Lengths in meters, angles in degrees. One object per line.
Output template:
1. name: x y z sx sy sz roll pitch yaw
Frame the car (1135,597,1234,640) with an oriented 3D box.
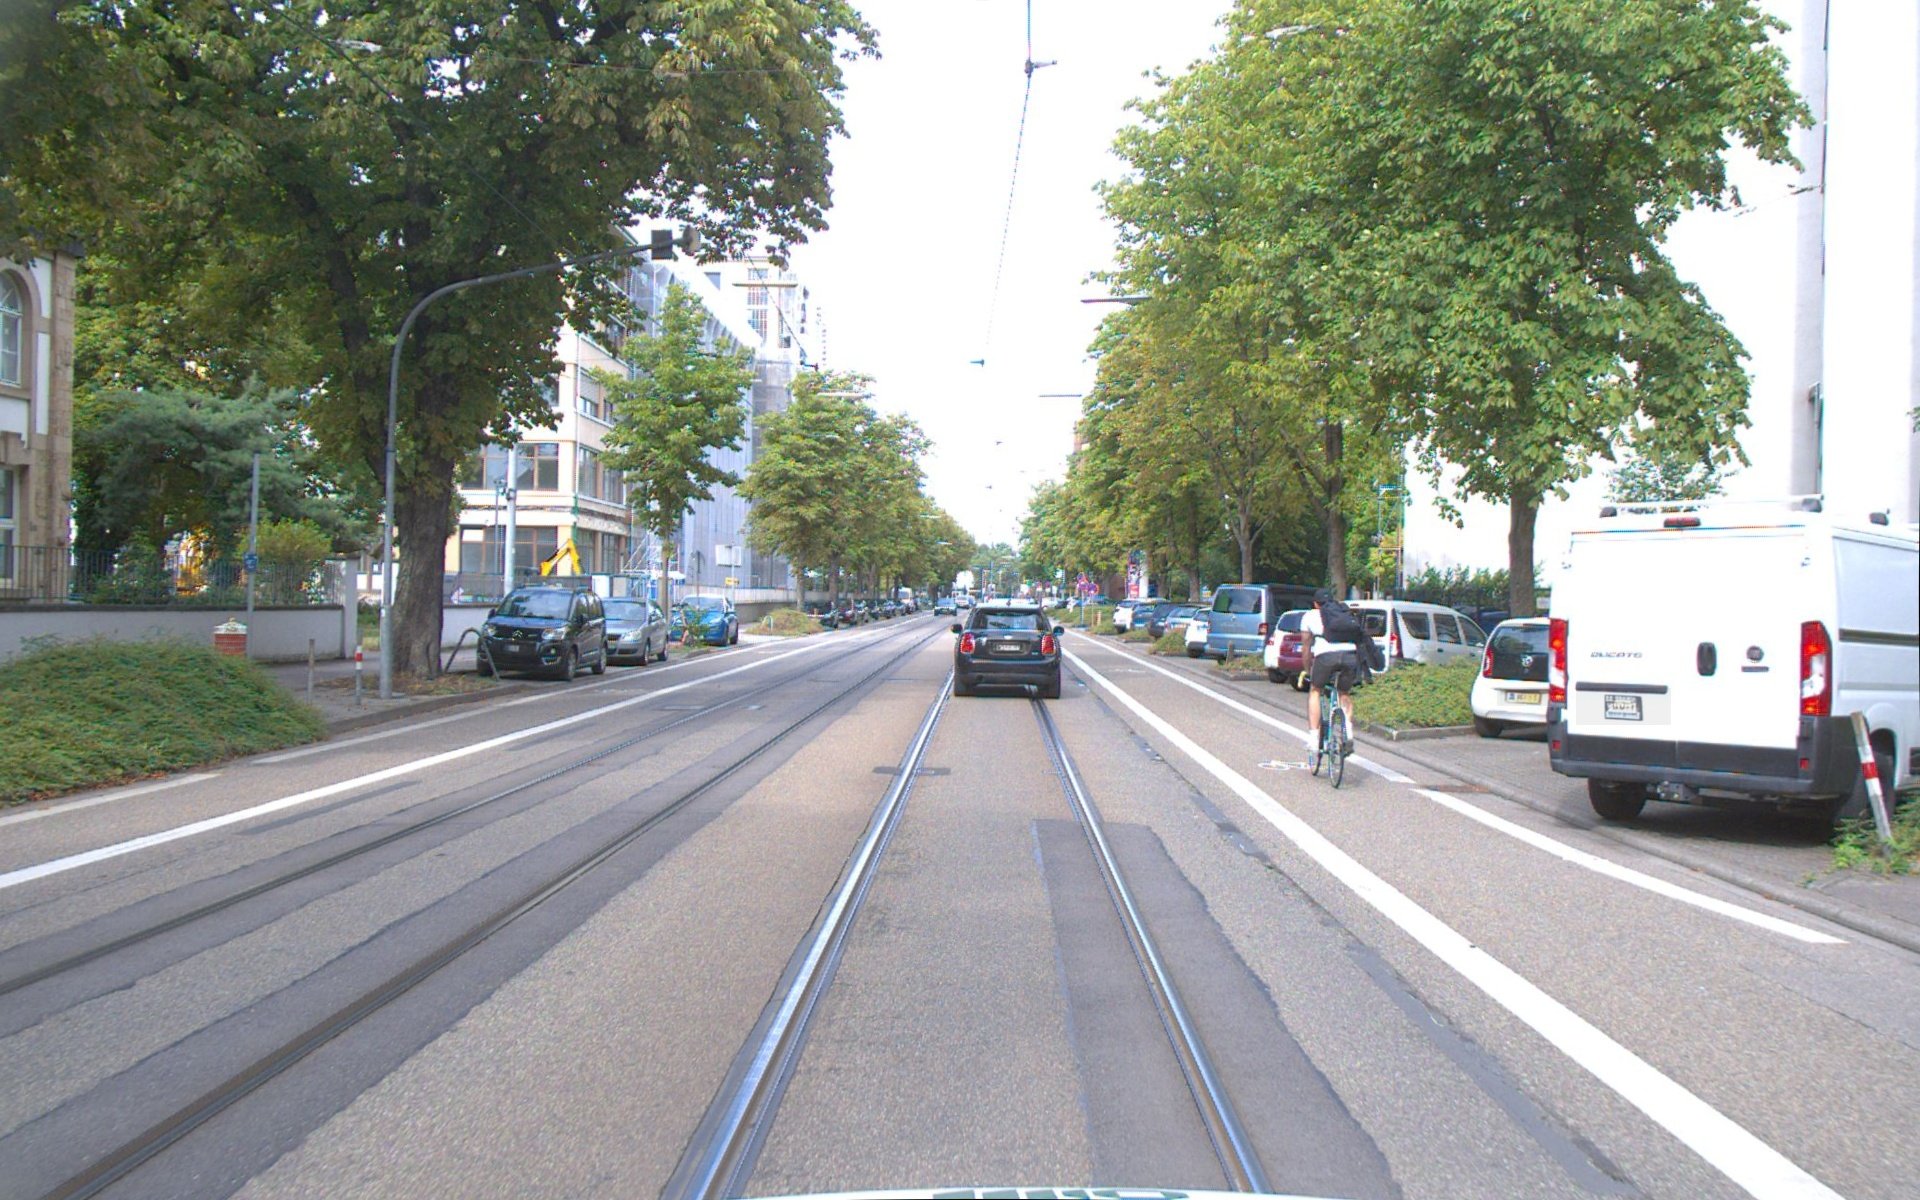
1. car: 8.196 0.689 60.173 3.711 1.484 1.614 2 0 -45

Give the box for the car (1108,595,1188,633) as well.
1. car: 8.307 0.631 72.836 3.412 1.600 1.539 1 0 -38

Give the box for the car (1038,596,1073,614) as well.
1. car: 11.270 0.613 195.977 3.907 1.944 1.999 2 0 -2

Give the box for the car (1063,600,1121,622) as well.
1. car: 9.475 0.776 118.764 3.907 1.450 1.884 1 0 -2

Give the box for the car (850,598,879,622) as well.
1. car: -6.515 0.652 113.174 1.765 1.611 4.031 0 0 0

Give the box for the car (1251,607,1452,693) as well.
1. car: 7.274 0.906 30.537 3.941 1.458 1.664 2 0 -42

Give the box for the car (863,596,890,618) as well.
1. car: -6.218 0.497 123.343 1.765 1.611 4.031 0 0 0

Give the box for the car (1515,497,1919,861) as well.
1. car: 6.745 0.541 13.116 4.917 2.330 2.348 2 0 -42

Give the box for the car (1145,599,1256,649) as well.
1. car: 7.788 0.779 53.382 3.711 1.549 1.614 2 0 -45

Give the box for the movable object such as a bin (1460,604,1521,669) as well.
1. movable object such as a bin: 12.951 0.877 40.415 1.047 1.534 1.323 2 0 1

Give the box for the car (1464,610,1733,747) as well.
1. car: 8.183 0.951 21.012 4.061 1.537 1.662 2 0 -45

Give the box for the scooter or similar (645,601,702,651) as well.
1. scooter or similar: -7.826 0.709 45.201 1.413 1.367 0.700 0 0 2

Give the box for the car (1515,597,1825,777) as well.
1. car: 7.621 0.861 17.583 3.930 1.677 1.662 2 0 -45

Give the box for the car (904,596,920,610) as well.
1. car: -5.446 0.310 188.347 1.765 1.611 4.031 0 0 0

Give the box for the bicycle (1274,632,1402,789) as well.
1. bicycle: 3.426 0.964 15.182 0.644 1.270 2.124 2 0 0

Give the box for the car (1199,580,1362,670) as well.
1. car: 7.804 0.615 40.058 4.243 2.050 1.802 2 -1 -45

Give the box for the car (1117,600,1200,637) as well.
1. car: 8.426 0.787 70.013 3.412 1.468 1.539 1 0 -38

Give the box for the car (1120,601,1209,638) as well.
1. car: 8.300 0.798 67.017 3.499 1.468 1.602 1 0 -38

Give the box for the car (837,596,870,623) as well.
1. car: -6.611 0.590 102.644 1.765 1.611 4.031 0 0 0

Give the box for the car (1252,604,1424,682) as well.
1. car: 7.682 0.854 33.462 3.688 1.458 1.662 2 0 -45

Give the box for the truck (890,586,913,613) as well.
1. truck: -5.553 -0.045 157.085 2.028 2.513 4.899 0 0 0

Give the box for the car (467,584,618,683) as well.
1. car: -7.688 0.580 30.818 1.720 1.676 4.052 2 0 0

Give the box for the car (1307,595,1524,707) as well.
1. car: 7.592 0.822 27.355 1.662 1.697 4.078 1 -1 45

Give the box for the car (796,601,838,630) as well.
1. car: -7.160 0.763 83.039 1.765 1.398 4.031 0 0 0

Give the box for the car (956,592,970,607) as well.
1. car: 0.390 -0.041 214.875 1.765 1.855 4.484 0 0 0

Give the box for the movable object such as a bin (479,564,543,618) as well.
1. movable object such as a bin: -18.078 -0.348 66.627 1.945 2.103 1.961 1 0 3

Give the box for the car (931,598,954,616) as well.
1. car: -1.446 0.569 136.771 1.797 1.473 4.553 1 0 0

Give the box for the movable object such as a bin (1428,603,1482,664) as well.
1. movable object such as a bin: 12.977 0.864 43.391 1.047 1.534 1.214 2 0 1

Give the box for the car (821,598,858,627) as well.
1. car: -6.812 0.699 93.774 1.765 1.611 4.031 0 0 0

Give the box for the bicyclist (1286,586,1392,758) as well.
1. bicyclist: 3.434 0.628 15.058 0.644 1.489 1.178 2 0 0

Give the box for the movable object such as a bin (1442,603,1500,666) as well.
1. movable object such as a bin: 12.995 0.871 42.068 1.047 1.534 1.323 2 0 1

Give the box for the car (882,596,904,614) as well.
1. car: -5.799 0.430 143.979 1.765 1.611 4.031 0 0 0

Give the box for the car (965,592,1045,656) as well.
1. car: 1.124 0.589 42.838 1.757 1.495 3.998 3 0 -2

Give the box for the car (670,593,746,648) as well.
1. car: -7.504 0.585 49.497 1.658 1.513 3.677 2 0 0

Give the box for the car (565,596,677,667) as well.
1. car: -7.581 0.666 37.310 1.658 1.452 3.868 2 0 0

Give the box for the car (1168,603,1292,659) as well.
1. car: 7.645 0.867 46.644 1.612 1.485 3.803 1 0 43

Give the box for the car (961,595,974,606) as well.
1. car: 1.103 0.075 233.803 1.765 1.650 4.484 0 0 0

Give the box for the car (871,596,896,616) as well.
1. car: -6.097 0.469 132.574 1.765 1.611 4.031 0 0 0

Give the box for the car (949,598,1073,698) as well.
1. car: 0.749 0.713 26.855 1.757 1.448 3.999 2 0 -1
